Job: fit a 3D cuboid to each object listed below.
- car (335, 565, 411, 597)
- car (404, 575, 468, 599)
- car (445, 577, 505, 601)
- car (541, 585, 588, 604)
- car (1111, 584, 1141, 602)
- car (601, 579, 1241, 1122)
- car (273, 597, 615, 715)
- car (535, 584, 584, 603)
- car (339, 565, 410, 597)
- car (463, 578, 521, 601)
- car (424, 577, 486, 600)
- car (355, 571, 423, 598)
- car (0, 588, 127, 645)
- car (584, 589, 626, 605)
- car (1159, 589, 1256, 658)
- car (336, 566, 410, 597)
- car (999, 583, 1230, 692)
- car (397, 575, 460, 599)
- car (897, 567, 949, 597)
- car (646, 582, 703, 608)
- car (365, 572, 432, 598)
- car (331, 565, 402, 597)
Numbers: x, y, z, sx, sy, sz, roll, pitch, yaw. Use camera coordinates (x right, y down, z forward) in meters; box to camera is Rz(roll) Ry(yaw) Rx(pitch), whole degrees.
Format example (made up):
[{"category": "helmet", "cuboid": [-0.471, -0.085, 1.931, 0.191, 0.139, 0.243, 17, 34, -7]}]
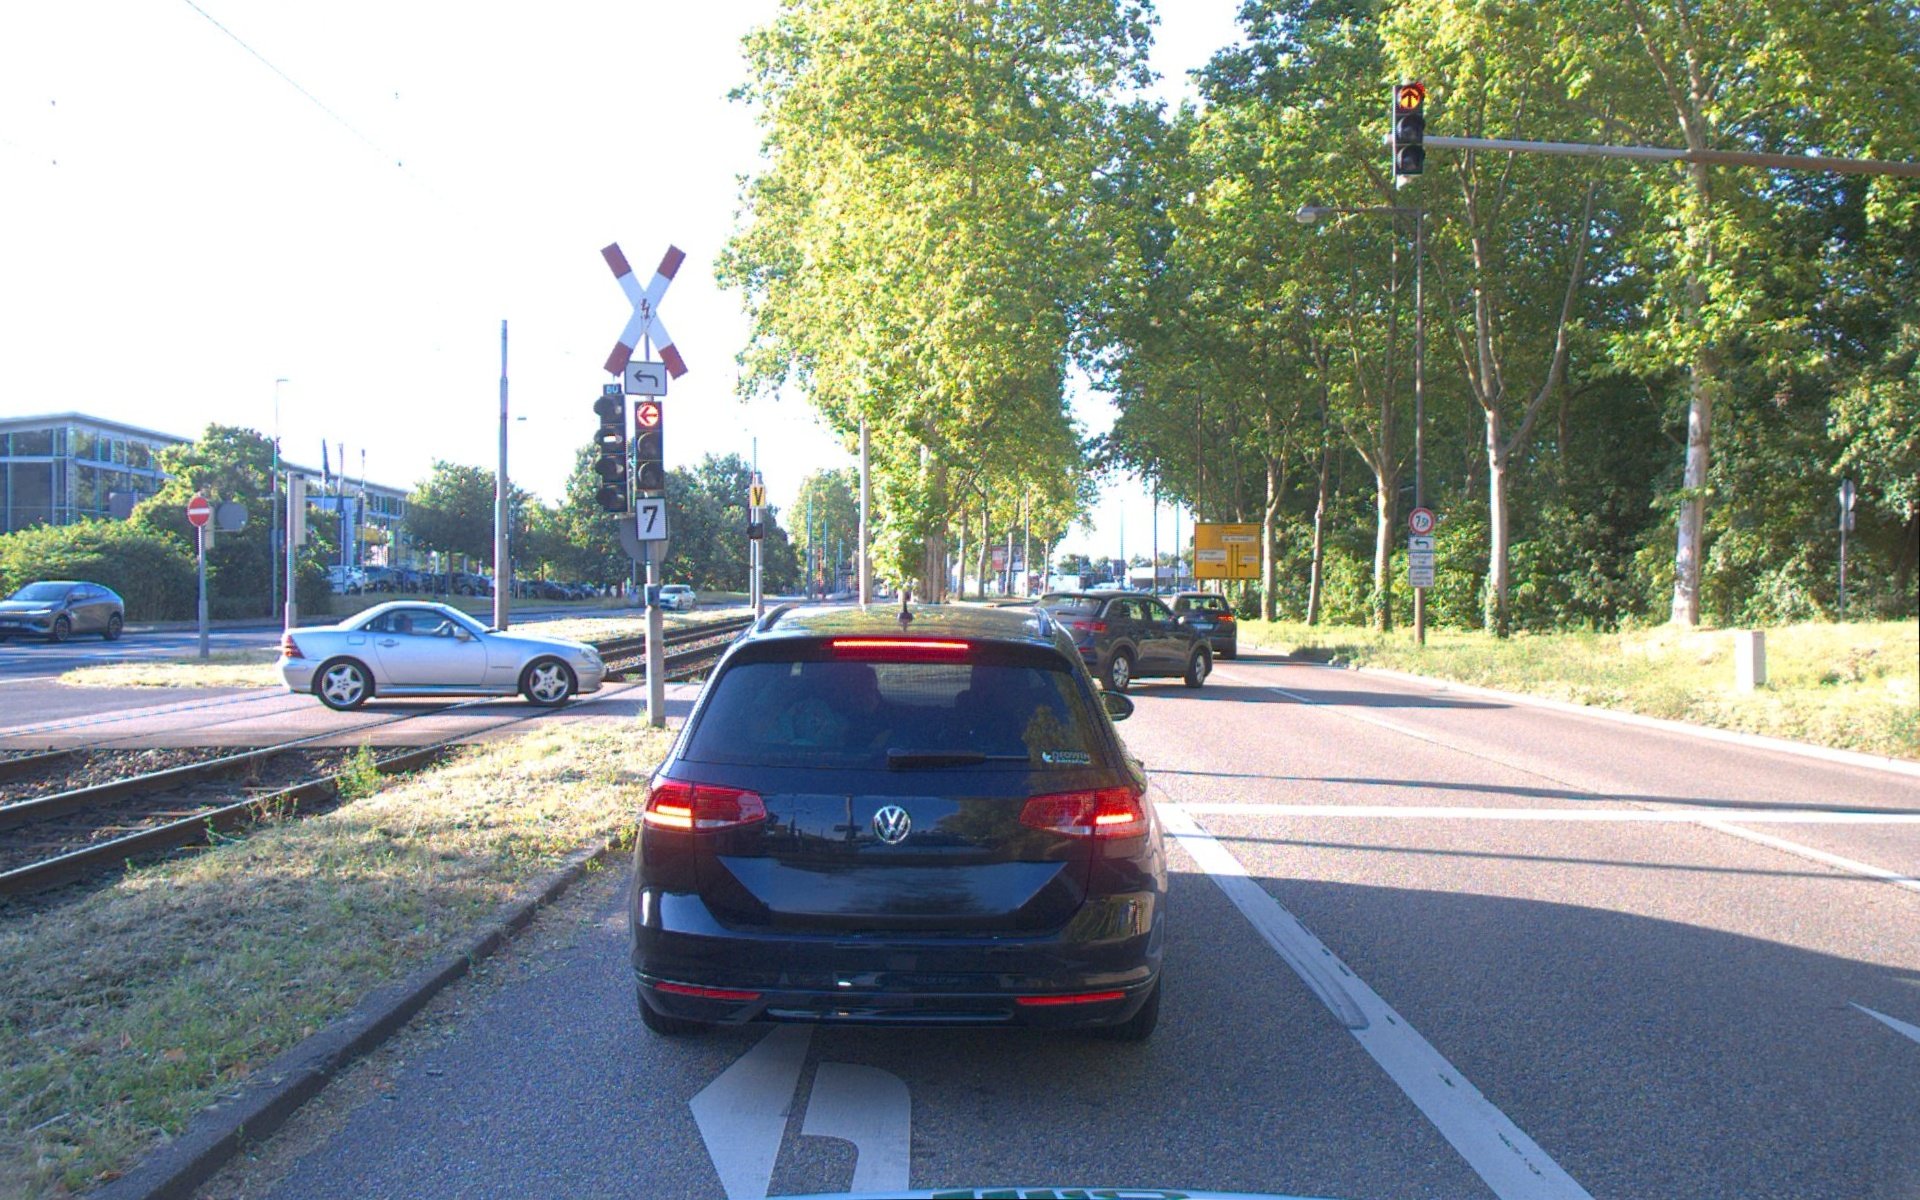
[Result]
[{"category": "car", "cuboid": [-32.910, -1.040, 92.727, 3.930, 1.734, 1.732, 1, 0, -22]}, {"category": "car", "cuboid": [-36.038, -0.860, 113.812, 3.913, 1.583, 1.740, 1, 0, -9]}, {"category": "car", "cuboid": [-35.570, -0.803, 121.267, 3.909, 1.649, 1.742, 1, 0, -6]}, {"category": "car", "cuboid": [-35.516, -0.530, 148.543, 3.909, 1.649, 1.742, 1, 0, -6]}, {"category": "car", "cuboid": [19.637, -0.845, 195.496, 2.053, 2.101, 4.877, 1, 1, 25]}, {"category": "car", "cuboid": [-0.141, 0.696, 6.402, 1.758, 1.490, 3.582, 1, 0, -1]}, {"category": "car", "cuboid": [-6.341, 0.652, 20.575, 3.907, 1.317, 1.606, -1, 1, -17]}, {"category": "car", "cuboid": [-35.219, -0.556, 145.385, 3.909, 1.649, 1.742, 1, 0, -6]}, {"category": "car", "cuboid": [-34.442, -1.113, 97.291, 3.930, 1.848, 1.732, 1, 0, -22]}, {"category": "car", "cuboid": [-35.240, -0.762, 124.483, 3.909, 1.649, 1.742, 1, 0, -6]}, {"category": "car", "cuboid": [-35.778, -0.820, 117.336, 3.911, 1.583, 1.741, 1, 0, -7]}, {"category": "car", "cuboid": [-35.201, -0.973, 101.944, 3.930, 1.583, 1.732, 1, 0, -22]}, {"category": "car", "cuboid": [-25.357, 0.425, 46.379, 1.823, 1.507, 4.172, 1, 1, 1]}, {"category": "car", "cuboid": [-35.962, -0.332, 167.447, 3.909, 1.583, 1.742, 1, 0, -5]}, {"category": "car", "cuboid": [6.246, 0.565, 42.107, 1.834, 1.663, 4.370, 0, 0, 0]}, {"category": "car", "cuboid": [-33.693, -1.049, 94.966, 3.930, 1.734, 1.732, 1, 0, -22]}, {"category": "car", "cuboid": [2.545, 0.555, 26.422, 1.680, 1.588, 4.146, 1, 0, 39]}, {"category": "car", "cuboid": [-35.707, -0.880, 111.117, 3.930, 1.583, 1.732, 1, 0, -22]}, {"category": "car", "cuboid": [-3.201, -1.575, 145.053, 2.054, 2.504, 5.847, 1, 1, 26]}, {"category": "car", "cuboid": [-17.395, -0.332, 100.877, 1.822, 1.507, 4.094, 1, 1, 15]}, {"category": "car", "cuboid": [-35.542, -0.947, 104.723, 3.930, 1.583, 1.732, 1, 0, -22]}, {"category": "car", "cuboid": [-35.548, -1.145, 99.029, 3.930, 1.848, 1.732, 1, 0, -22]}]
